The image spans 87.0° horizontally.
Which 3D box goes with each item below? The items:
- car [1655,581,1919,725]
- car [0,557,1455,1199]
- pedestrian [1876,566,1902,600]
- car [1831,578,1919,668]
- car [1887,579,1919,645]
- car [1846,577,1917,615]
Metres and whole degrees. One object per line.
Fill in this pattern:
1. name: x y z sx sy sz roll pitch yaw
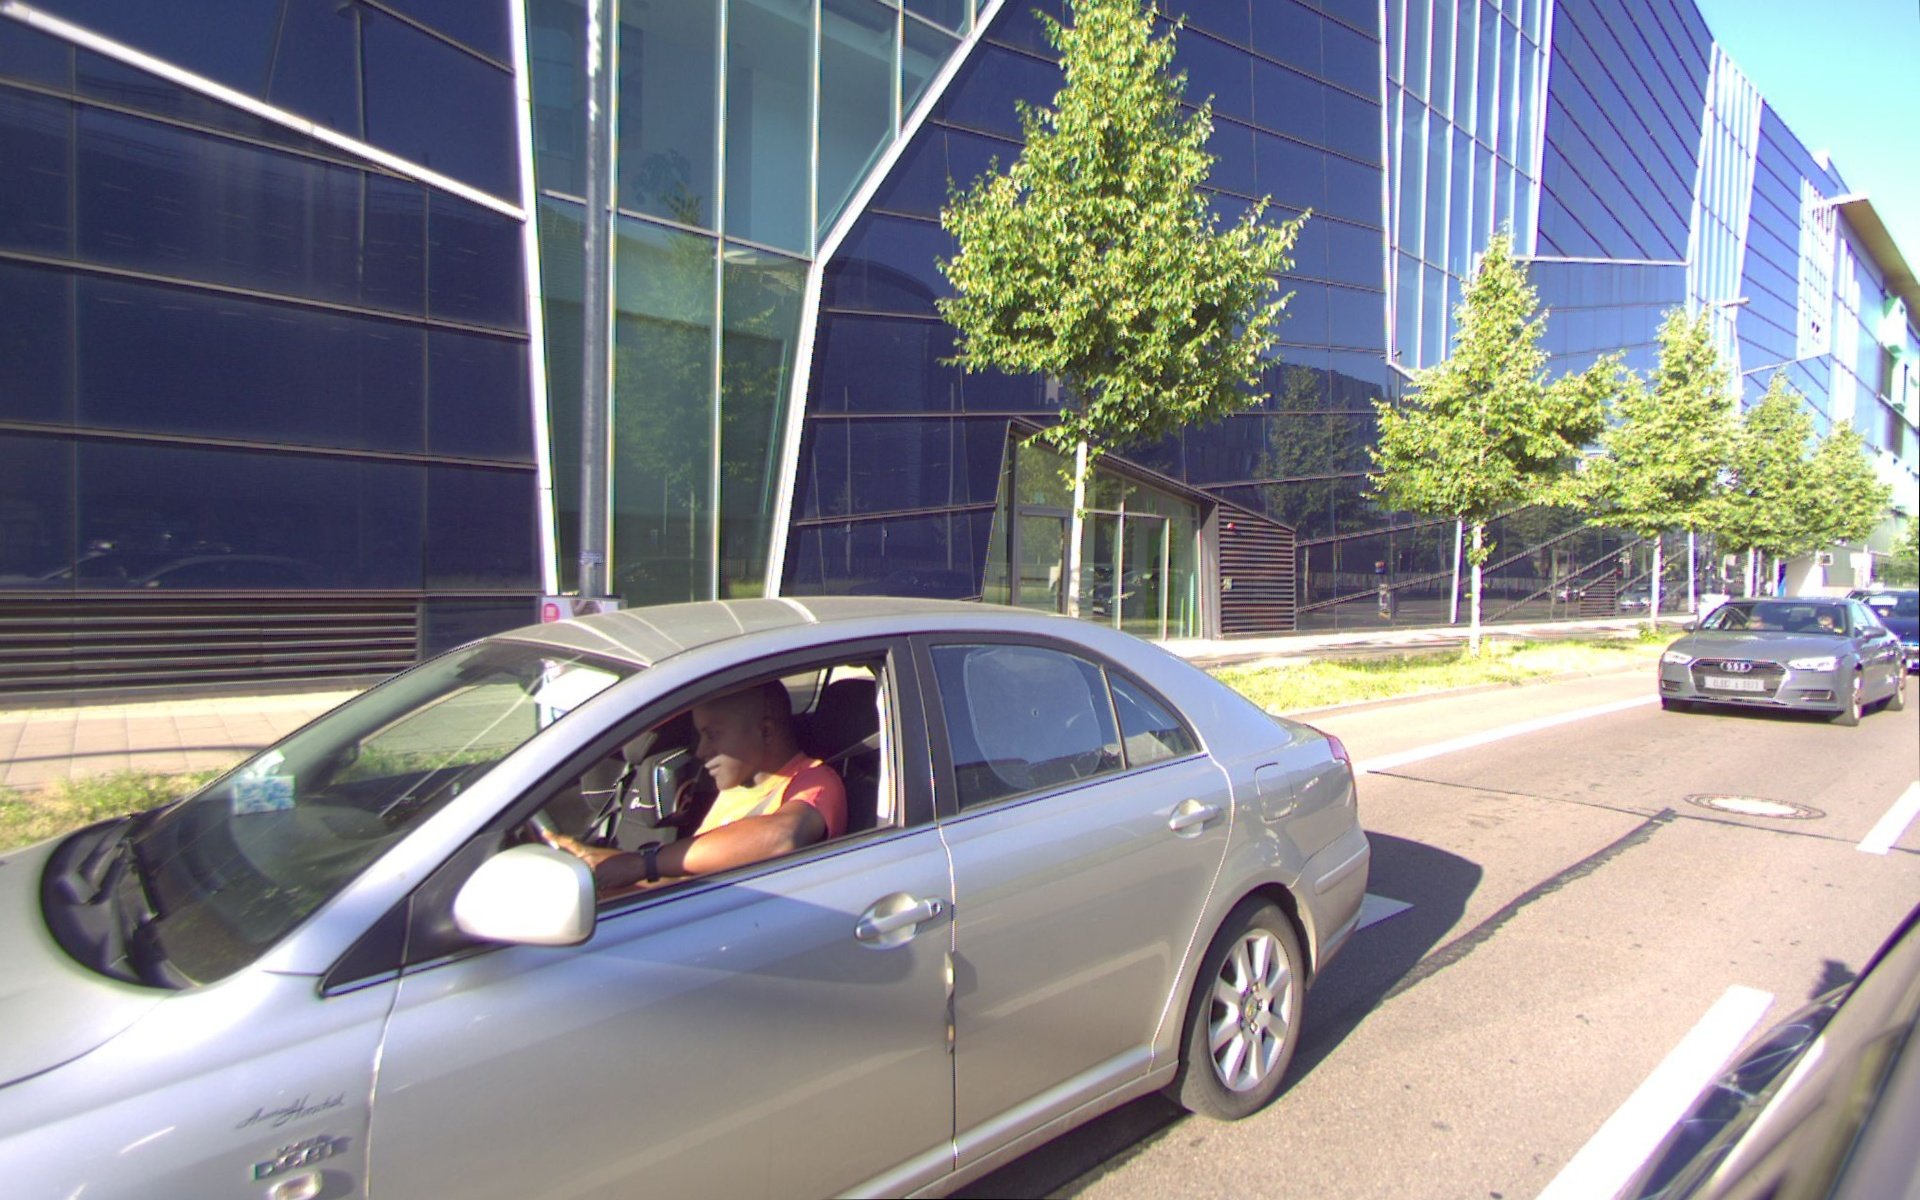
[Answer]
1. car: 10.079 0.490 12.152 4.188 1.409 1.750 -1 2 -39
2. car: -0.521 0.655 2.749 4.549 1.499 1.749 -1 3 -42
3. pedestrian: 52.127 -0.977 56.811 0.889 1.845 0.829 0 5 -41
4. car: 17.401 0.363 18.458 3.903 1.496 1.752 -1 1 -41
5. car: 23.318 0.257 23.878 3.358 1.497 1.752 -1 1 -41
6. car: 40.541 -0.204 44.498 4.633 1.516 1.739 -1 4 -41
